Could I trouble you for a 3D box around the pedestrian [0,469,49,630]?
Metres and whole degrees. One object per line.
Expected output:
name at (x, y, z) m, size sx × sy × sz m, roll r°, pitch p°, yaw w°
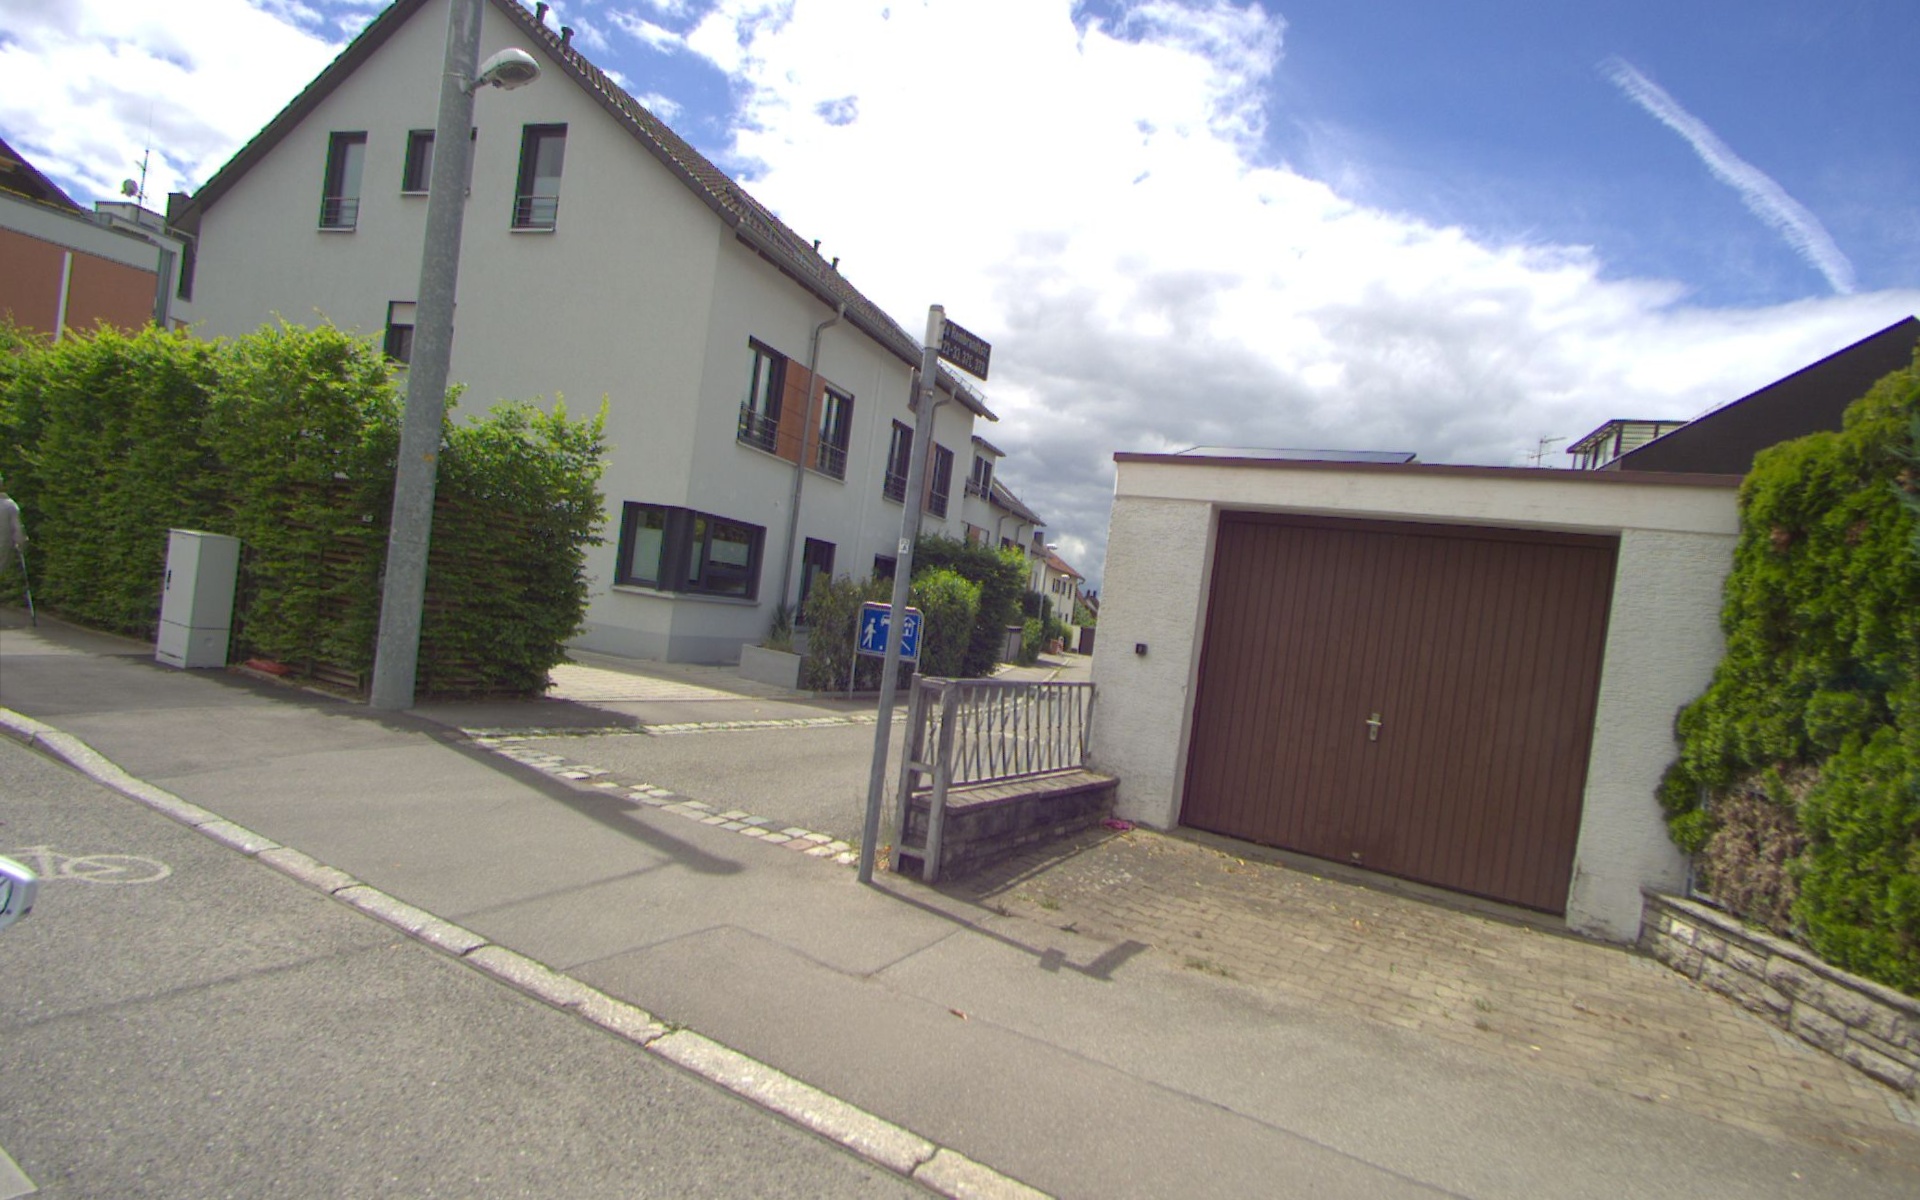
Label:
pedestrian at (-10.129, -0.555, 10.406) m, size 0.642 × 1.638 × 0.799 m, roll 7°, pitch 1°, yaw 31°
